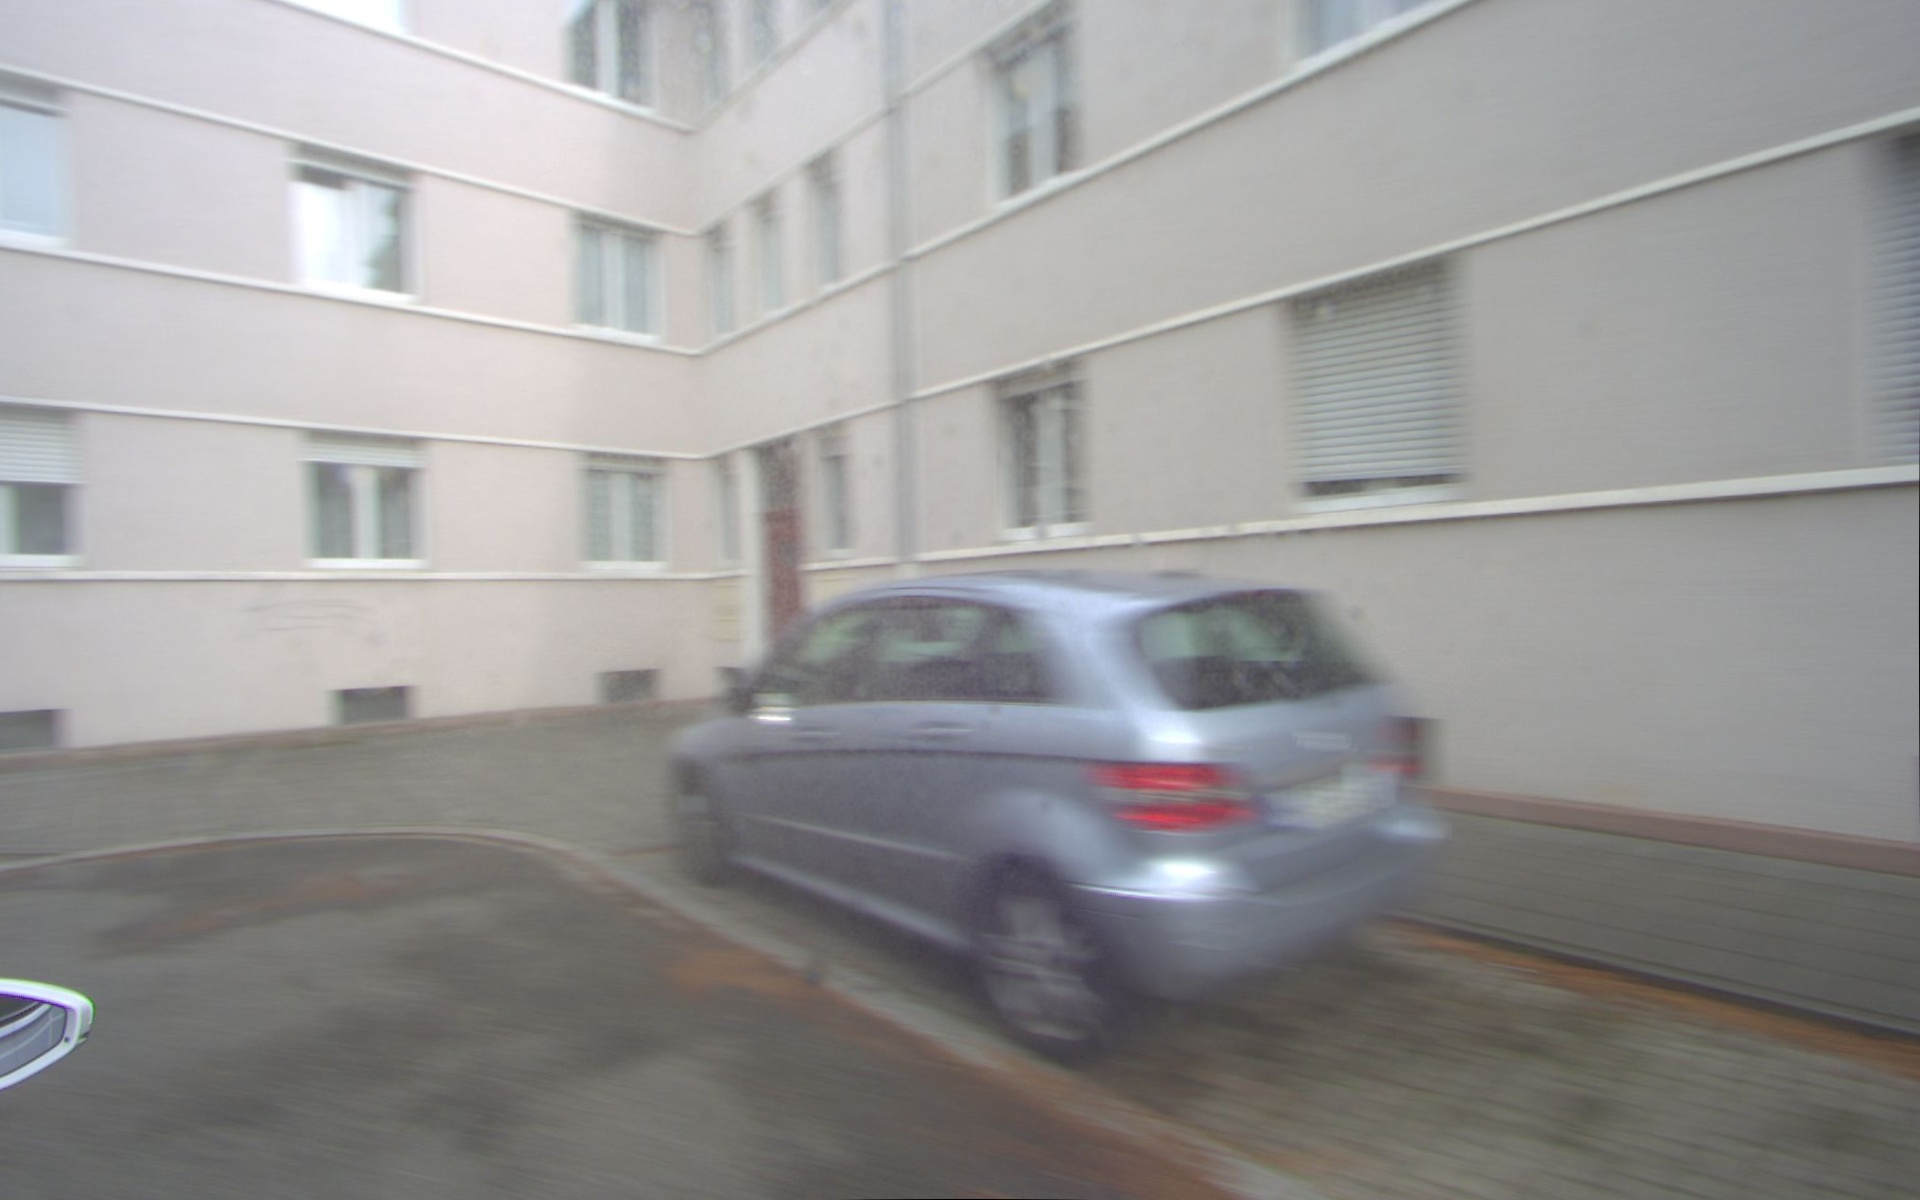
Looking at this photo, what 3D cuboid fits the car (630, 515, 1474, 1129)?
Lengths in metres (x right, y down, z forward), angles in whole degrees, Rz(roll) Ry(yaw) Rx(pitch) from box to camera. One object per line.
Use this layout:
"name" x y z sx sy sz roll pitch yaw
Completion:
"car" -0.024 0.632 4.884 1.741 1.649 4.169 -1 0 -37
